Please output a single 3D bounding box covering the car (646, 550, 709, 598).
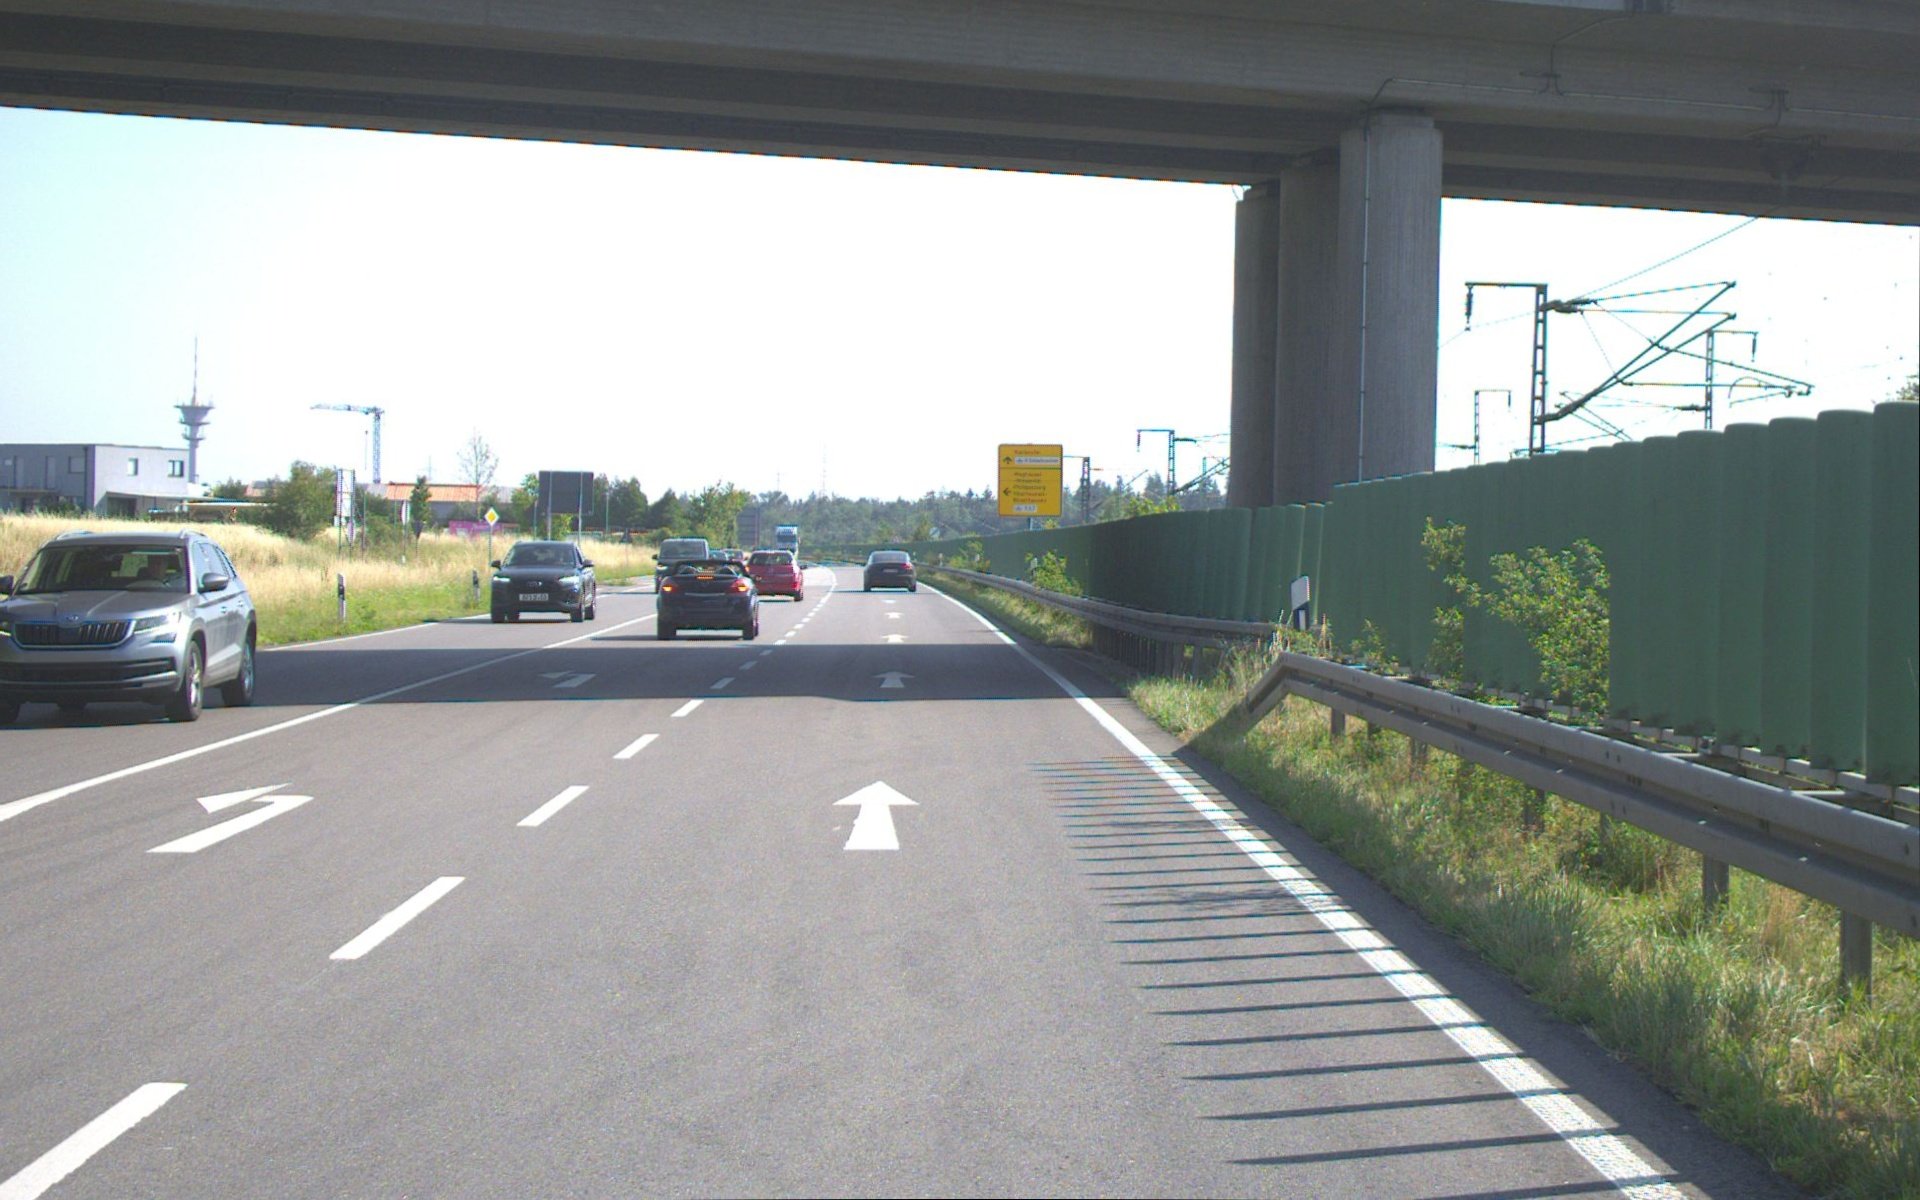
[{"bbox_3d":[-9.845,-0.918,120.074,1.895,1.625,4.000,0,1,-1],"label":"car"}]

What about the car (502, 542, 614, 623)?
[{"bbox_3d":[-8.331,-0.374,71.500,1.895,1.625,4.000,0,1,-1],"label":"car"}]

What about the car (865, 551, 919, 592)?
[{"bbox_3d":[-2.395,-1.028,121.918,1.895,1.413,4.000,0,1,-1],"label":"car"}]

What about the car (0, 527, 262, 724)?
[{"bbox_3d":[-7.476,0.171,30.628,1.845,1.625,4.001,0,1,-2],"label":"car"}]

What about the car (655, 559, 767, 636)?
[{"bbox_3d":[-4.212,-0.055,58.656,1.663,1.257,4.000,0,1,-1],"label":"car"}]

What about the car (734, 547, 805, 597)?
[{"bbox_3d":[-5.520,-0.811,100.038,1.895,1.413,4.000,0,1,-1],"label":"car"}]
